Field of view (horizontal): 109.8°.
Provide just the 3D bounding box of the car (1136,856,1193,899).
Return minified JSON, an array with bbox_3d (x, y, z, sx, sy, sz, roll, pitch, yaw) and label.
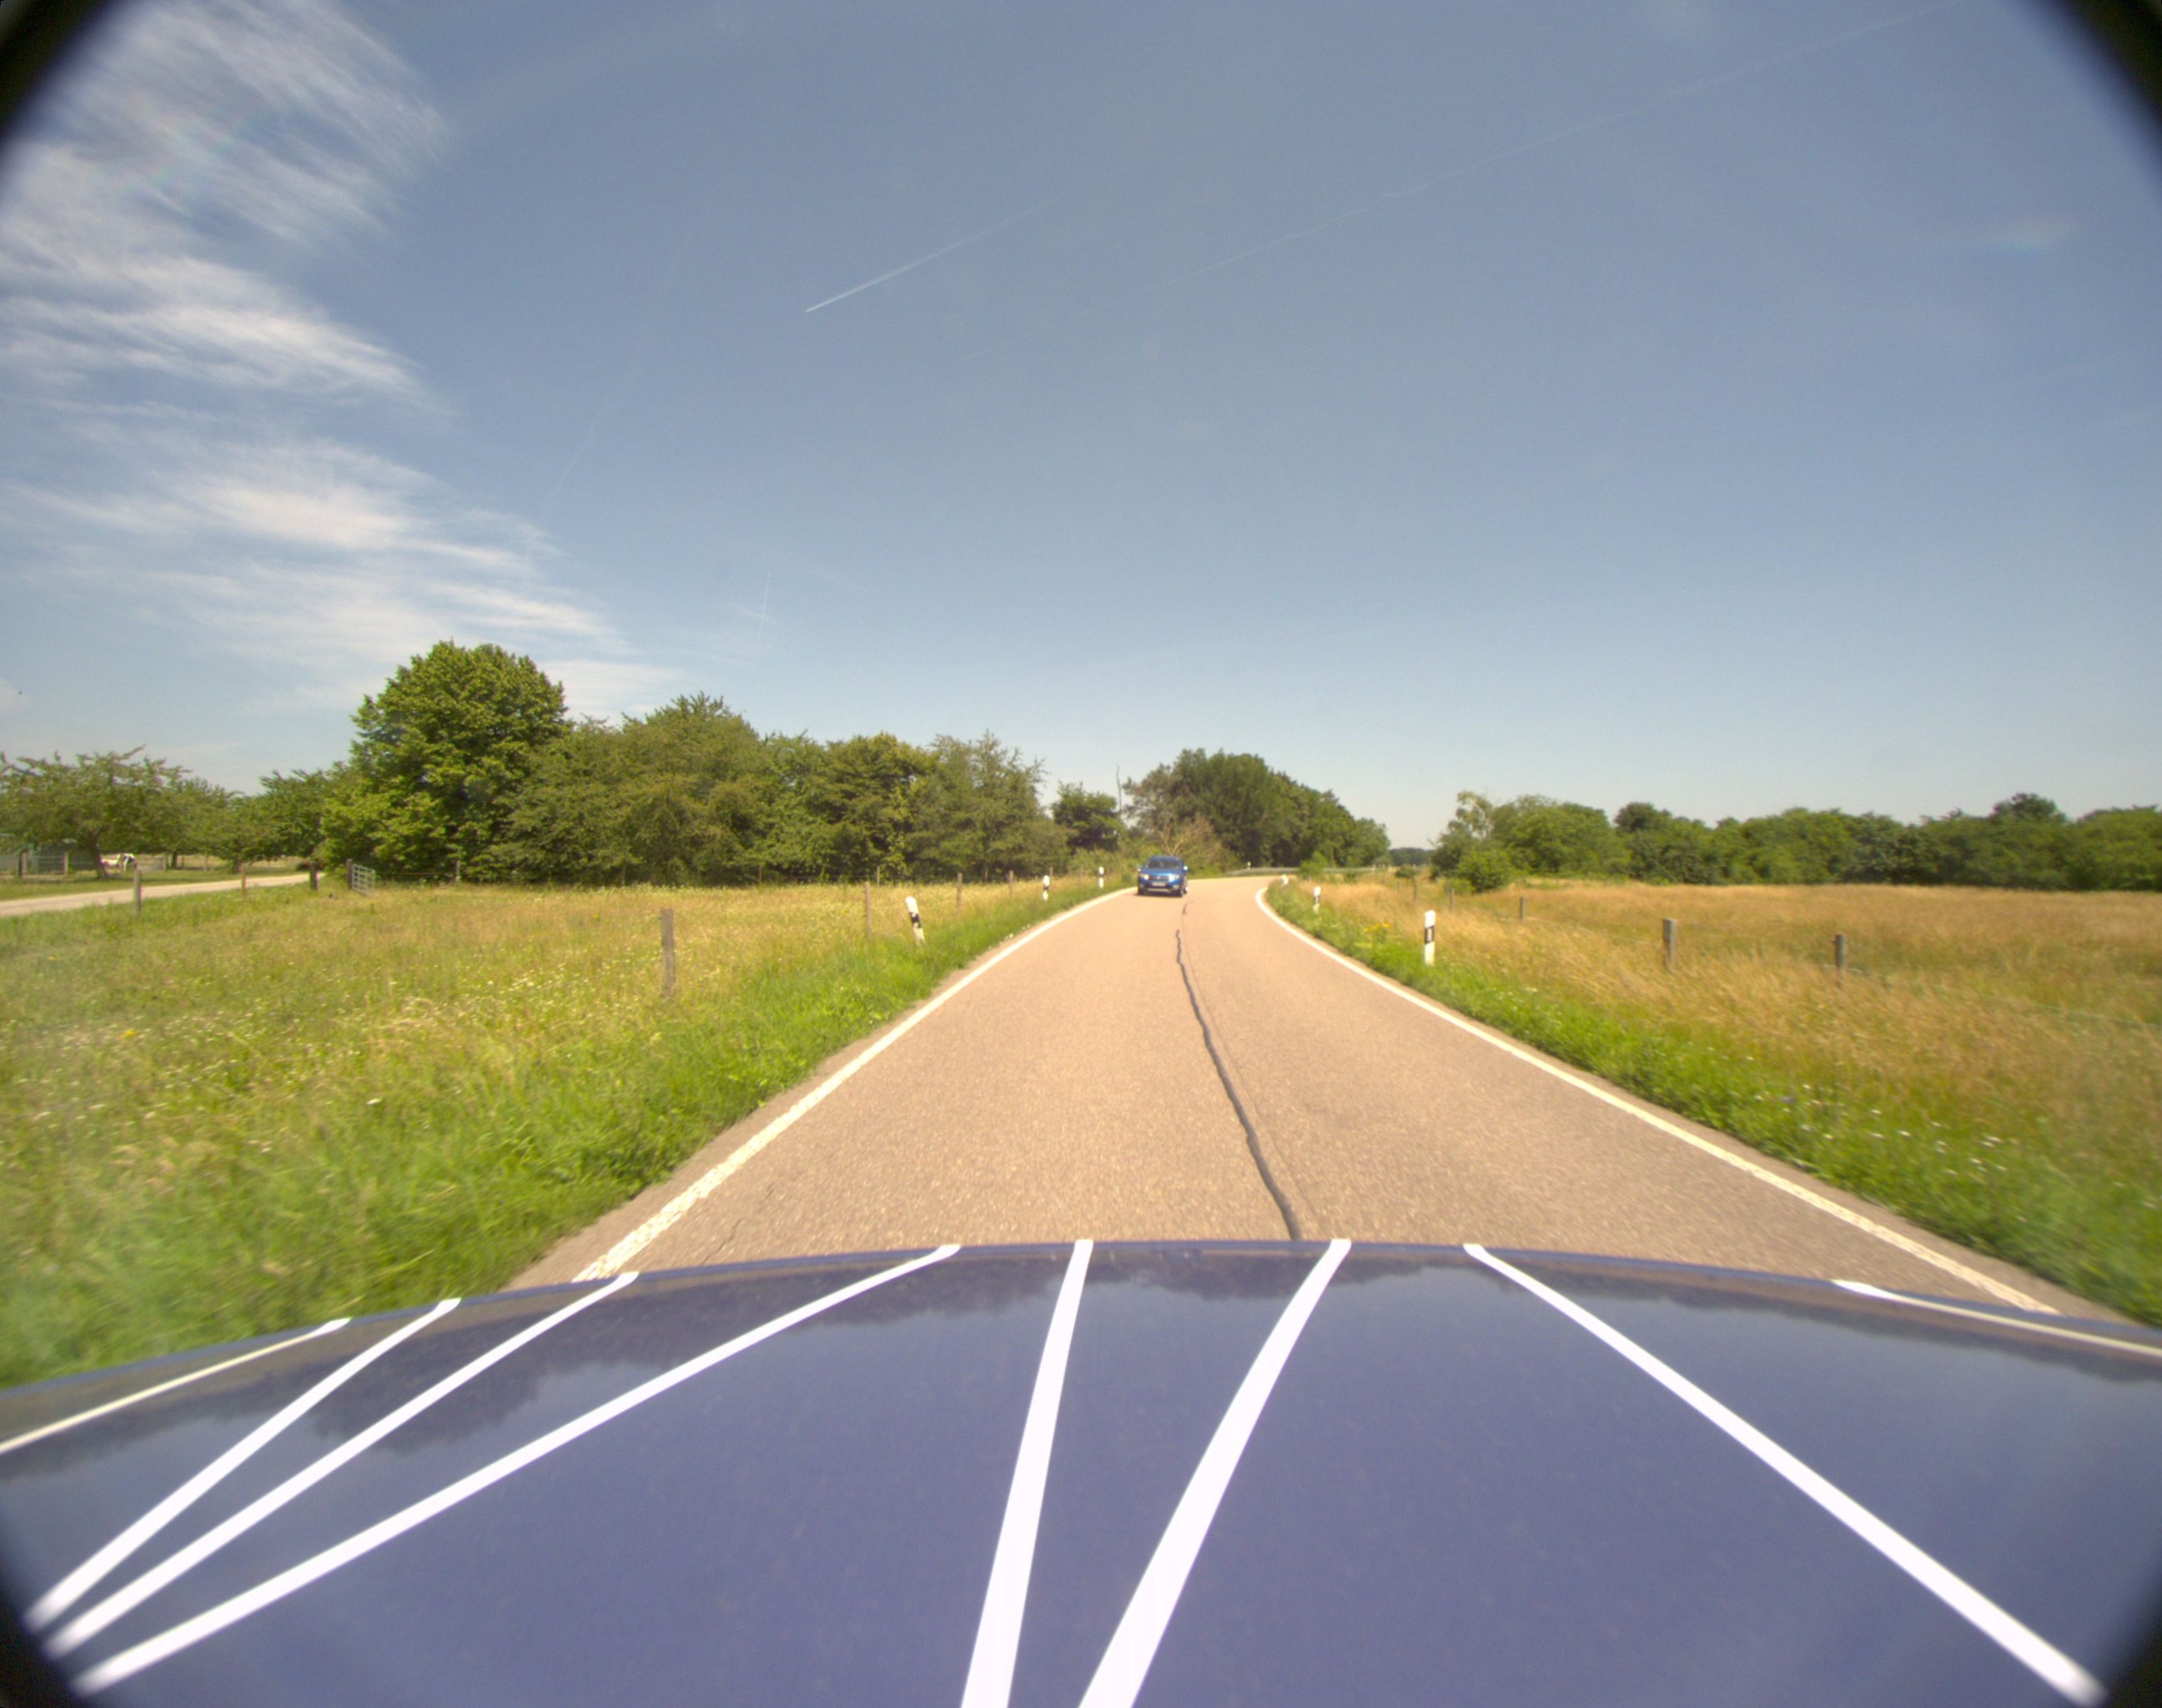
[{"bbox_3d":[3.417,0.885,30.513,1.732,1.572,4.004,2,0,13],"label":"car"}]
